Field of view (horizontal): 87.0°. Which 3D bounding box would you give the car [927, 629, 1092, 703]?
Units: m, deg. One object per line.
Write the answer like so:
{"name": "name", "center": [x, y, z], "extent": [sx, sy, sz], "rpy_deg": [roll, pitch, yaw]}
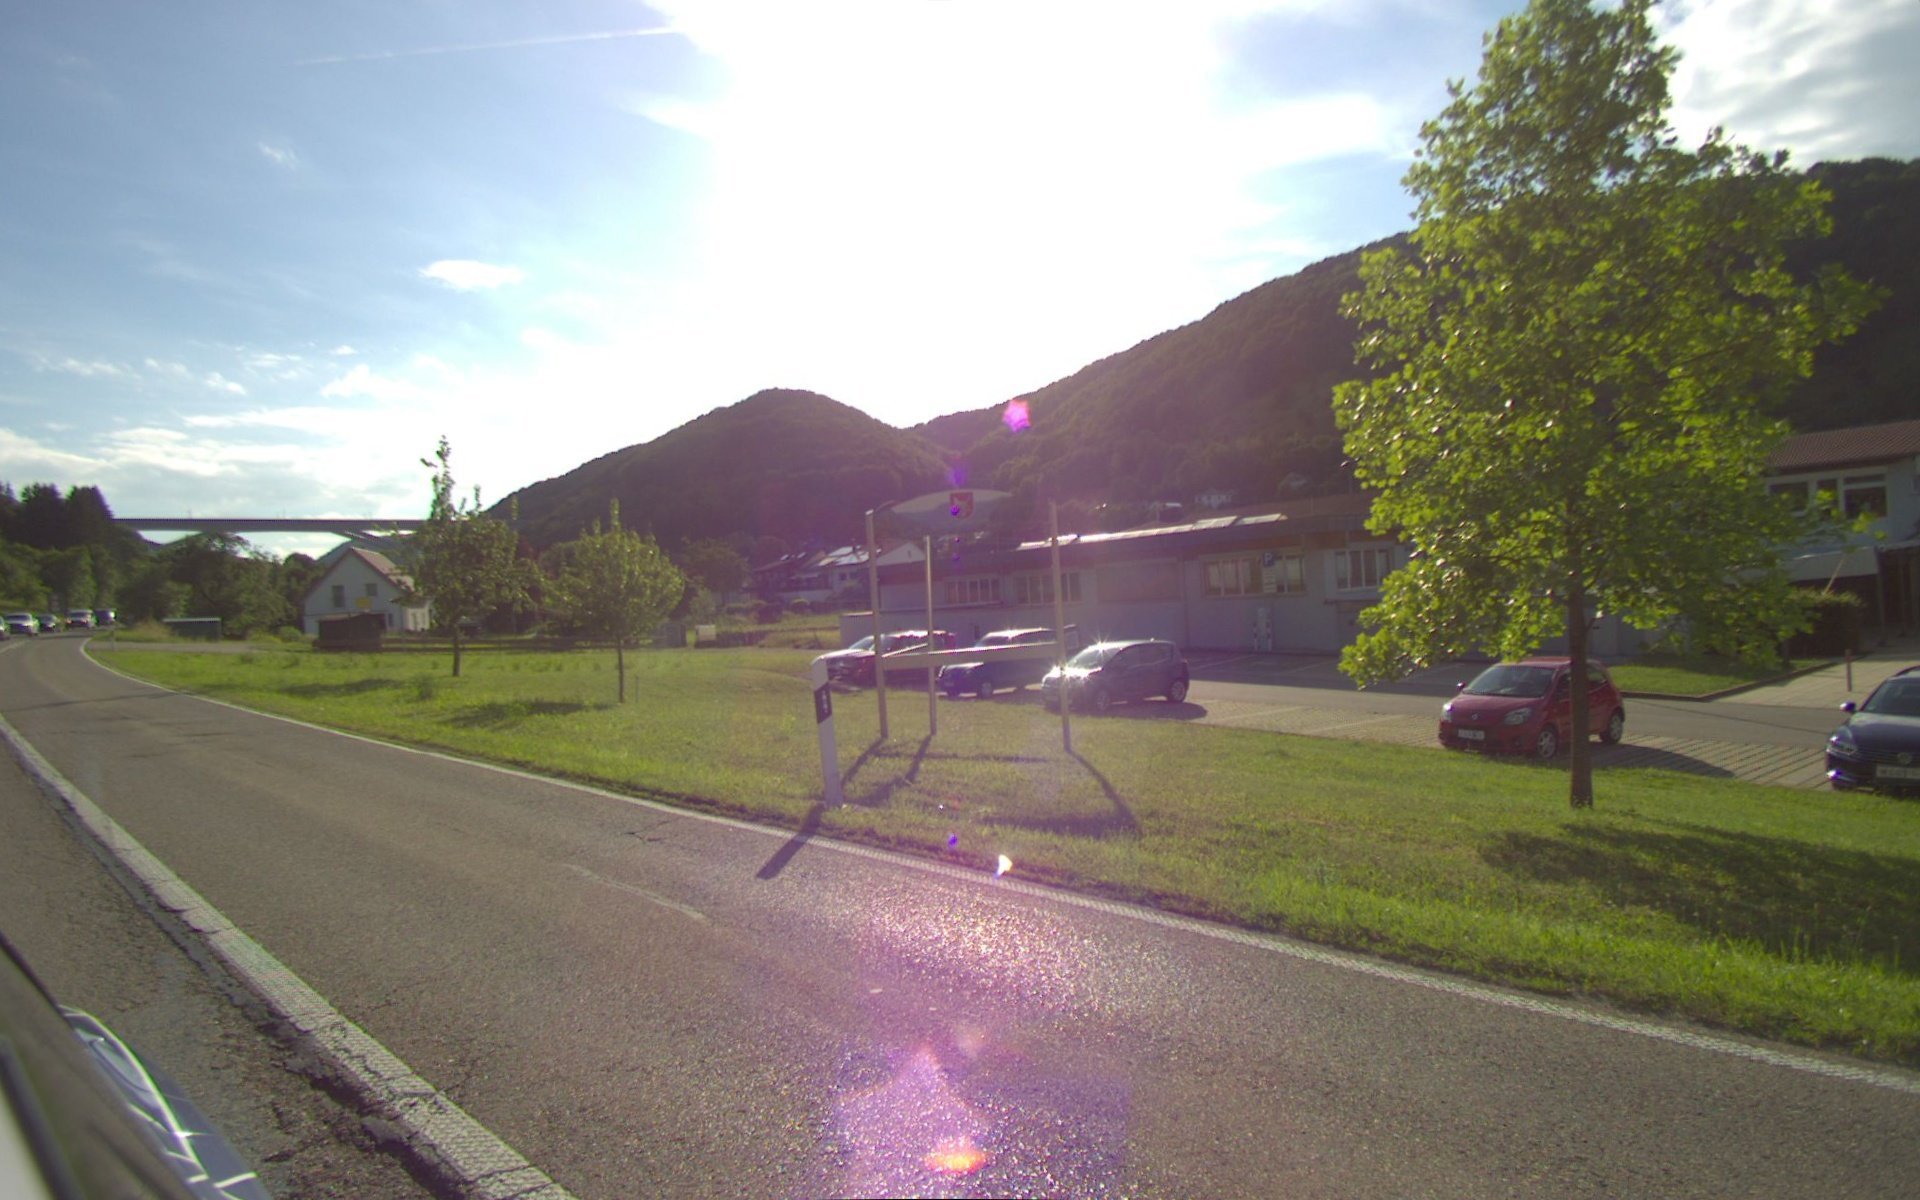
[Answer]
{"name": "car", "center": [1.515, 1.834, 29.393], "extent": [4.928, 1.807, 1.688], "rpy_deg": [-1, 0, -39]}

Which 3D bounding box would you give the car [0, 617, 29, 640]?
{"name": "car", "center": [-65.124, 1.950, 69.517], "extent": [1.607, 1.490, 3.681], "rpy_deg": [-1, 0, -45]}

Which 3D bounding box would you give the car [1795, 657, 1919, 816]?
{"name": "car", "center": [12.784, 1.678, 13.155], "extent": [4.480, 1.566, 2.004], "rpy_deg": [-1, 0, -37]}

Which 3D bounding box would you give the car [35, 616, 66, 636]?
{"name": "car", "center": [-73.677, 2.093, 82.035], "extent": [1.605, 1.490, 3.687], "rpy_deg": [-1, 0, -38]}

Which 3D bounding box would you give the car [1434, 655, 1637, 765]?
{"name": "car", "center": [9.623, 1.732, 16.833], "extent": [3.672, 1.408, 1.619], "rpy_deg": [-1, 0, -37]}

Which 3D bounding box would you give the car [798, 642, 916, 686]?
{"name": "car", "center": [-3.667, 2.259, 36.333], "extent": [3.835, 1.379, 1.857], "rpy_deg": [0, 0, -36]}

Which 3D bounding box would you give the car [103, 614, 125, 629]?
{"name": "car", "center": [-90.462, 2.283, 108.251], "extent": [1.605, 1.490, 3.687], "rpy_deg": [-1, 0, -38]}

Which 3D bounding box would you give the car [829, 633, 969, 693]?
{"name": "car", "center": [-2.012, 2.038, 33.592], "extent": [4.262, 1.682, 1.853], "rpy_deg": [-1, 0, -33]}

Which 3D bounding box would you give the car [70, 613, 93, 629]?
{"name": "car", "center": [-83.347, 1.998, 96.003], "extent": [1.606, 1.490, 3.684], "rpy_deg": [-1, 0, -42]}

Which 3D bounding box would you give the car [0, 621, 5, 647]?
{"name": "car", "center": [-57.708, 2.006, 59.912], "extent": [1.607, 1.490, 3.681], "rpy_deg": [-1, 0, -45]}

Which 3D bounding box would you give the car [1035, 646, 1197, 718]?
{"name": "car", "center": [3.894, 1.961, 24.990], "extent": [3.956, 1.463, 1.687], "rpy_deg": [-1, -2, -39]}
